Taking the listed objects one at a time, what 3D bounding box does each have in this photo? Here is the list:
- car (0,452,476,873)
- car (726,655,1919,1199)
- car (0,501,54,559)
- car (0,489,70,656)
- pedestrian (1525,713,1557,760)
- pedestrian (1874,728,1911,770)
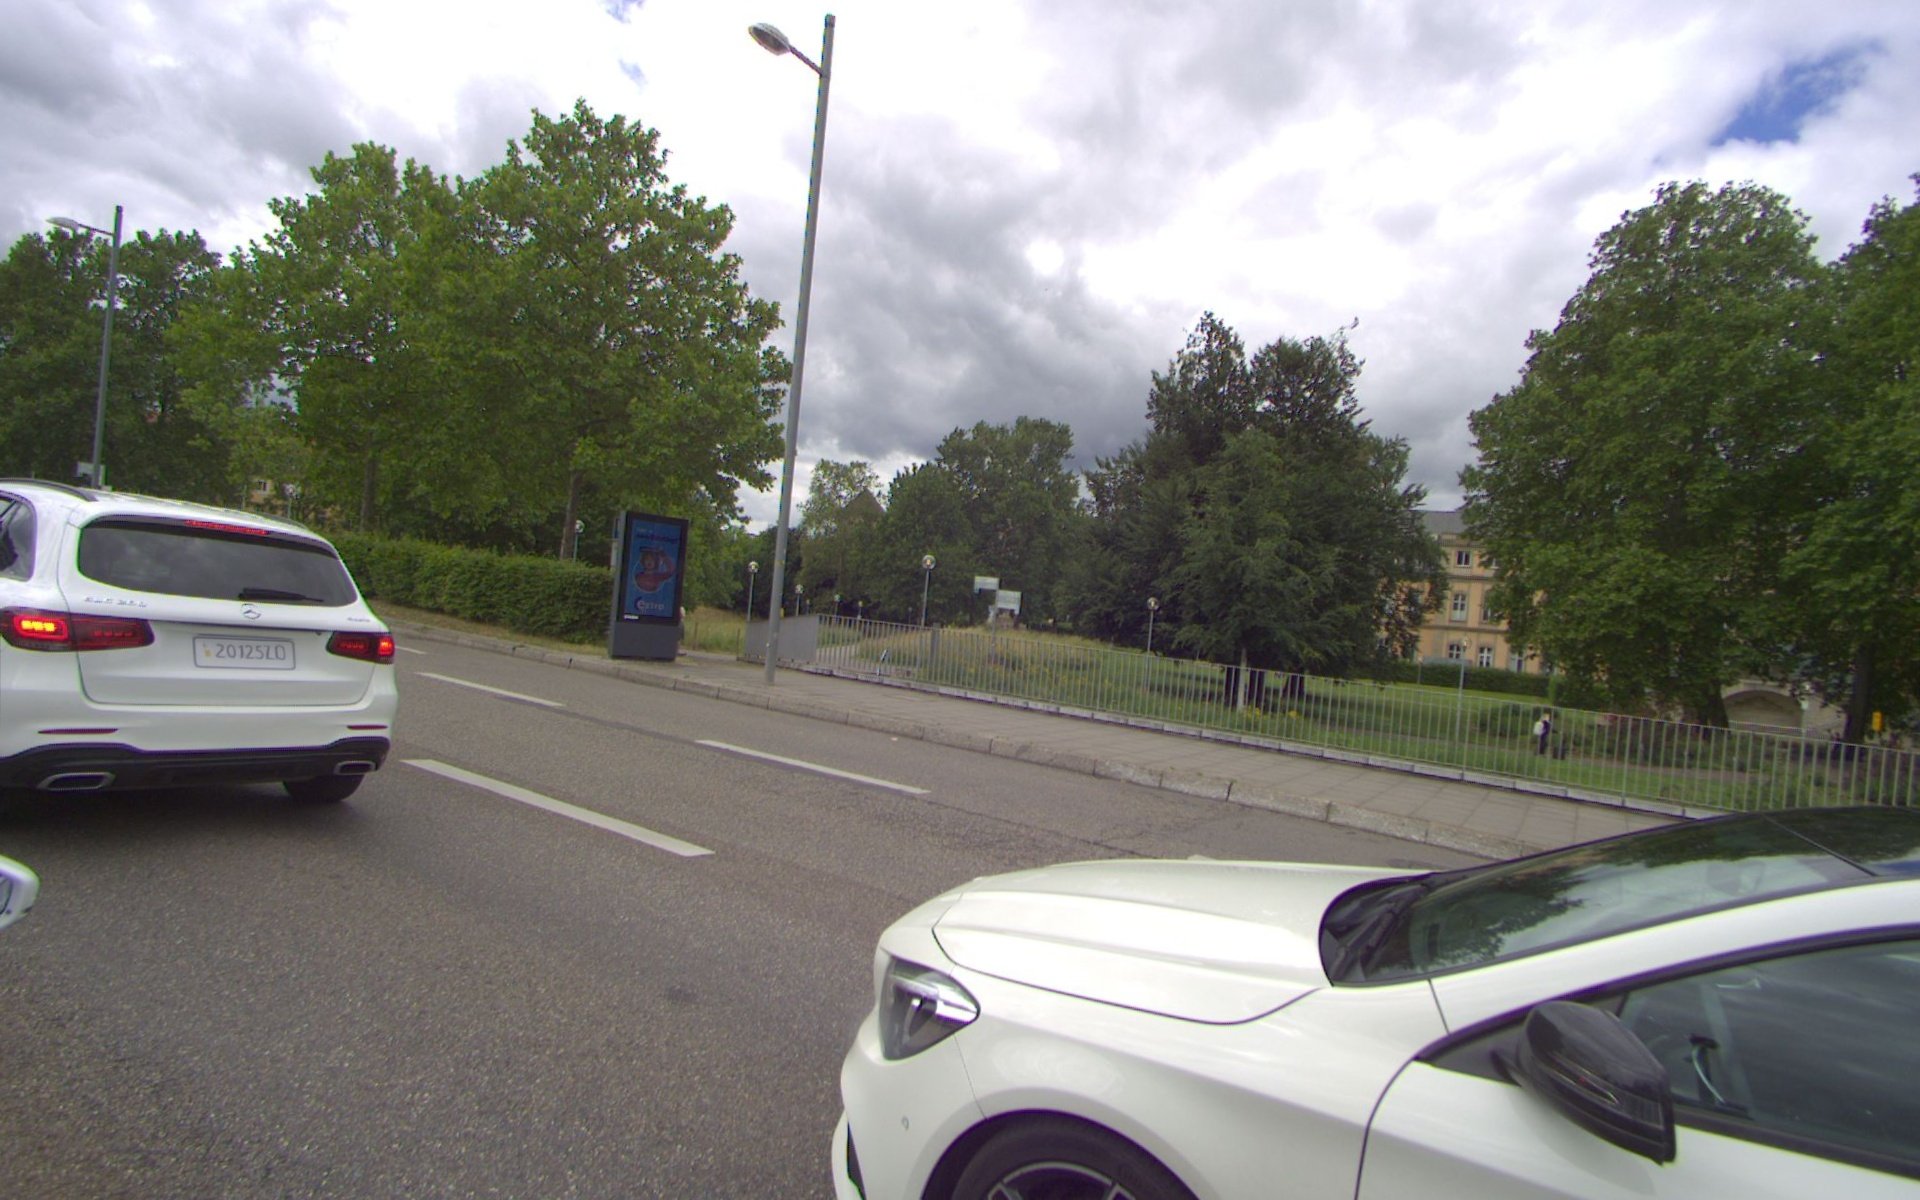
[{"bbox_3d":[-5.123,0.124,5.957,4.416,1.673,1.929,7,-1,33],"label":"car"},{"bbox_3d":[1.850,1.095,1.838,4.454,1.436,1.796,5,-2,33],"label":"car"},{"bbox_3d":[-29.208,-2.206,30.271,4.459,1.476,1.933,5,-3,37],"label":"car"},{"bbox_3d":[-11.294,-0.495,10.396,4.417,1.569,1.929,6,-2,33],"label":"car"},{"bbox_3d":[21.579,5.068,37.378,0.645,1.619,0.684,6,-2,1],"label":"pedestrian"},{"bbox_3d":[50.117,7.987,54.064,0.931,2.036,1.100,7,-2,-23],"label":"pedestrian"}]
